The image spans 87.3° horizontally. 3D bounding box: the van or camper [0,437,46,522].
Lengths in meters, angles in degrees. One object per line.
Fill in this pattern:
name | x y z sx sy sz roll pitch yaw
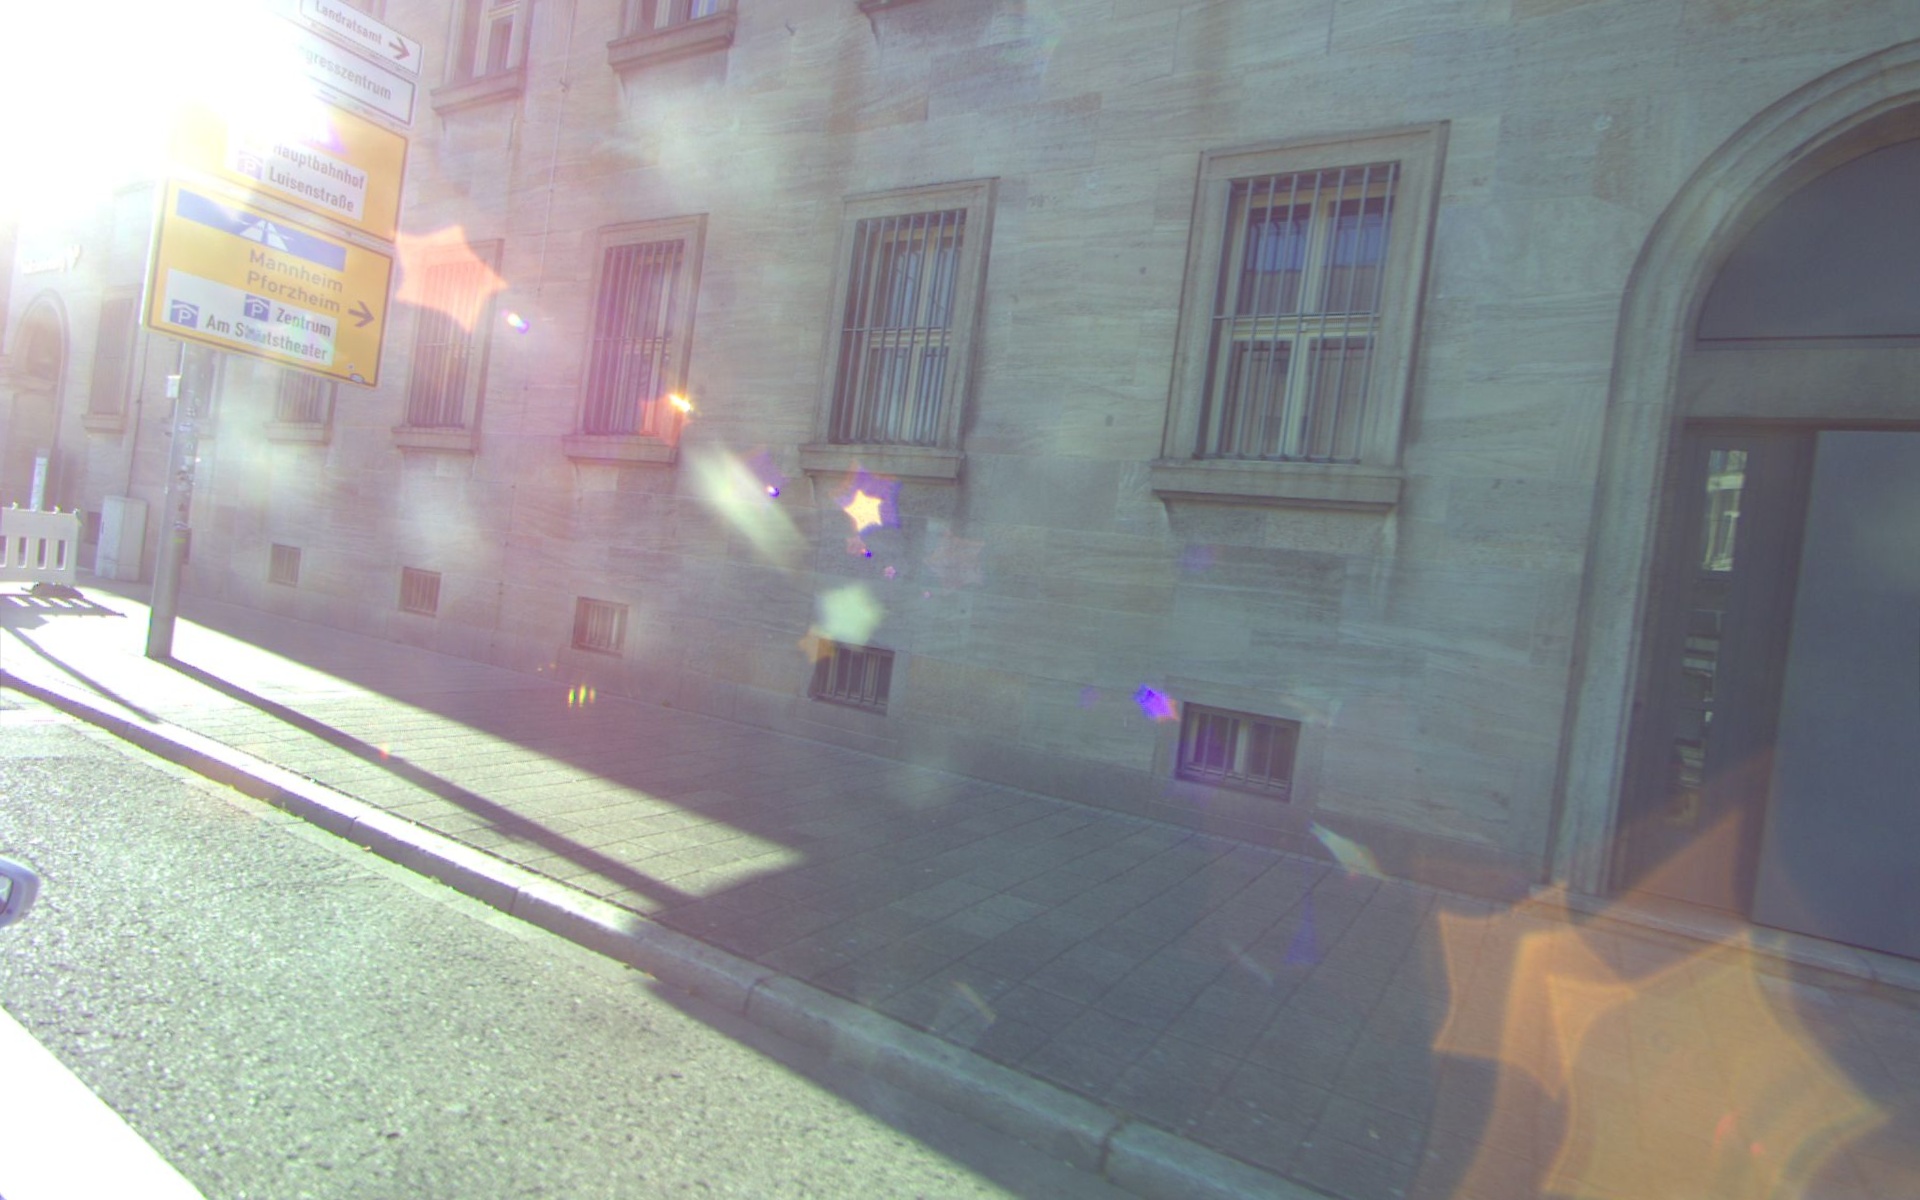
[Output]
van or camper | -37.576 -4.880 35.875 2.866 2.893 6.717 6 -3 36
